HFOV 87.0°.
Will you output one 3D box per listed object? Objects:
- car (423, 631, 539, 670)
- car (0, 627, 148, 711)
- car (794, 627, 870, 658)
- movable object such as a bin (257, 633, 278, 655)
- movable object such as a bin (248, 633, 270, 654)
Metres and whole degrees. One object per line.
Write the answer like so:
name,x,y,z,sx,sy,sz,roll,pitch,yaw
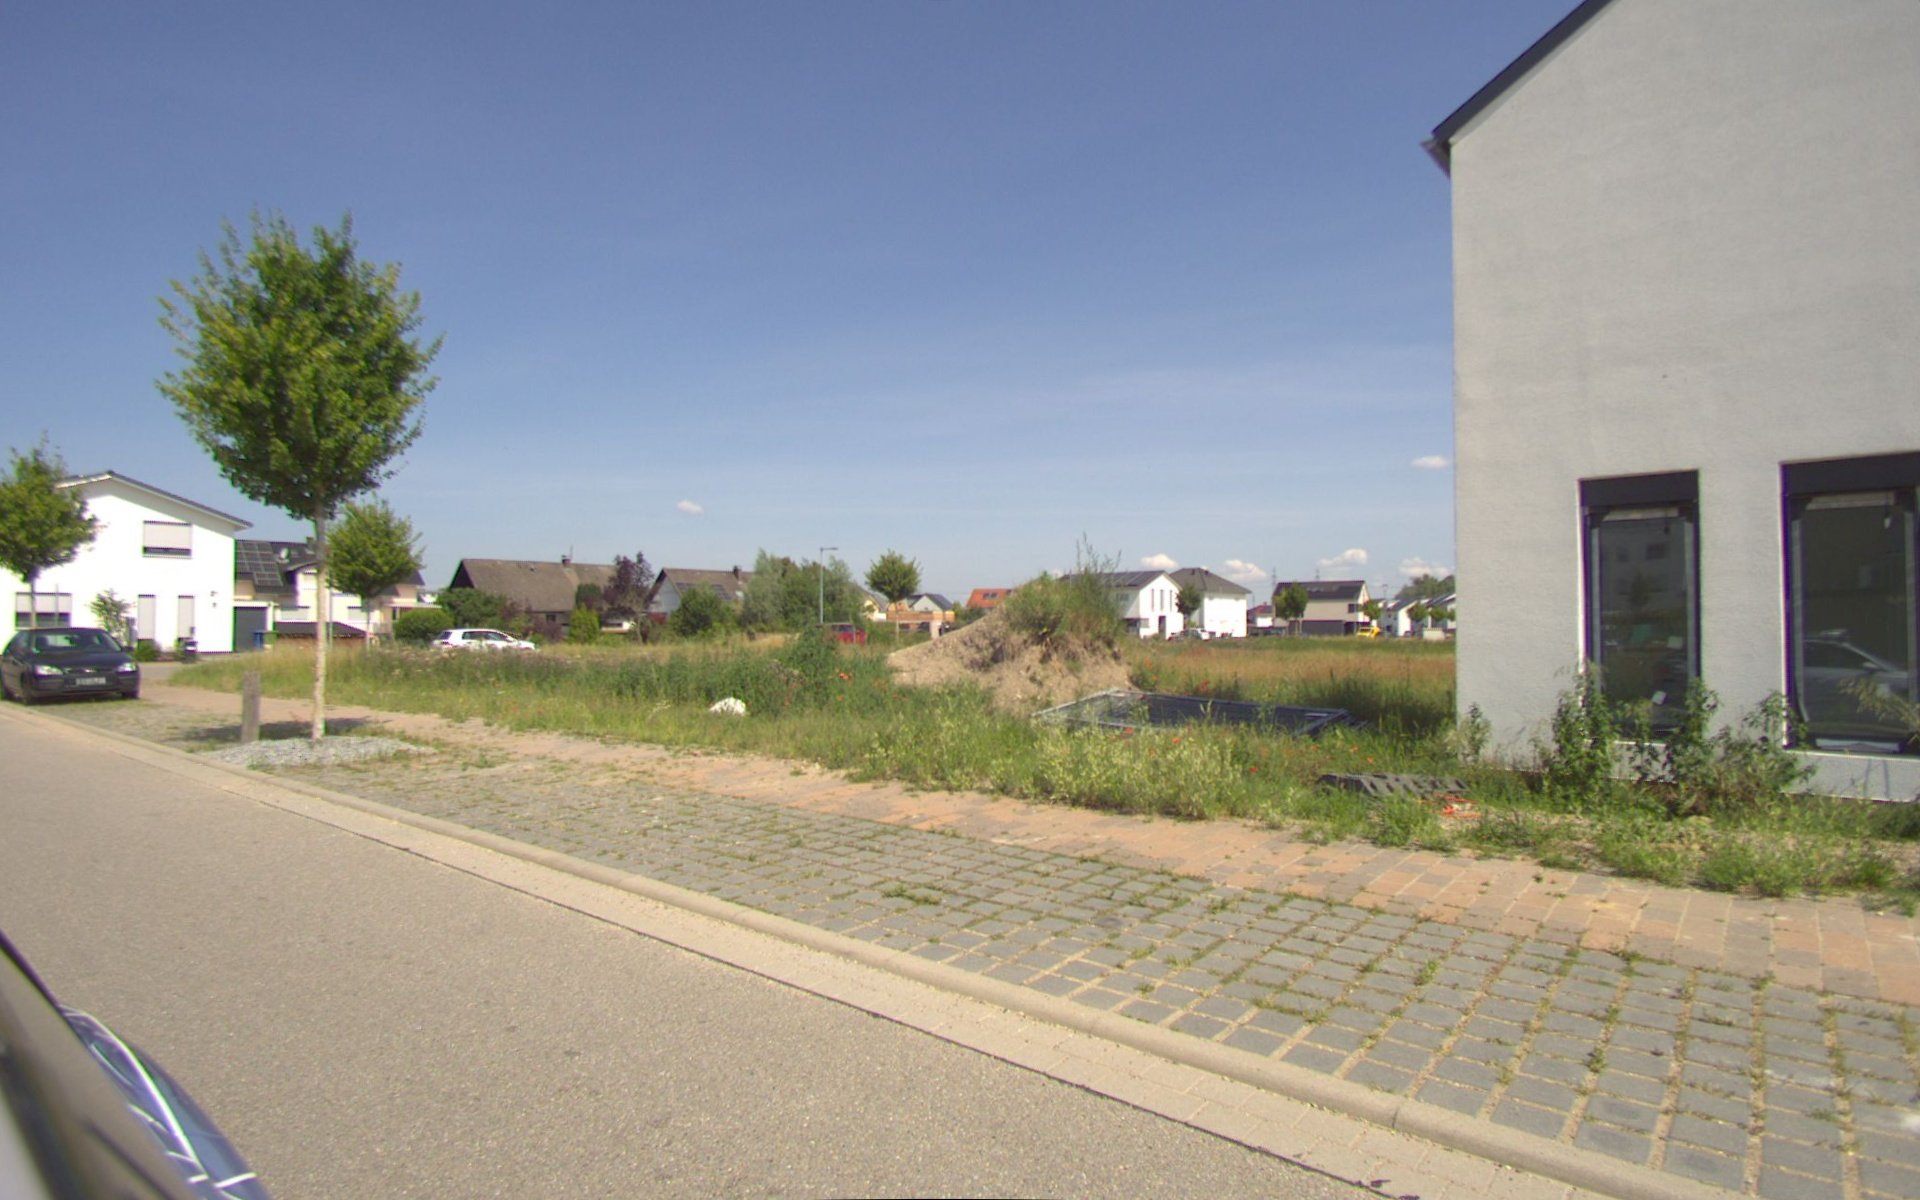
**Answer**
car,-19.637,2.045,41.577,1.810,1.514,3.941,-2,-3,45
car,-17.992,1.312,20.387,4.141,1.465,1.793,-2,-1,40
car,-6.997,2.339,55.687,1.808,1.628,3.945,-2,-3,41
movable object such as a bin,-33.456,2.120,48.901,0.741,1.012,0.676,-2,-3,42
movable object such as a bin,-34.169,2.130,49.328,0.741,1.012,0.676,-2,-3,42
